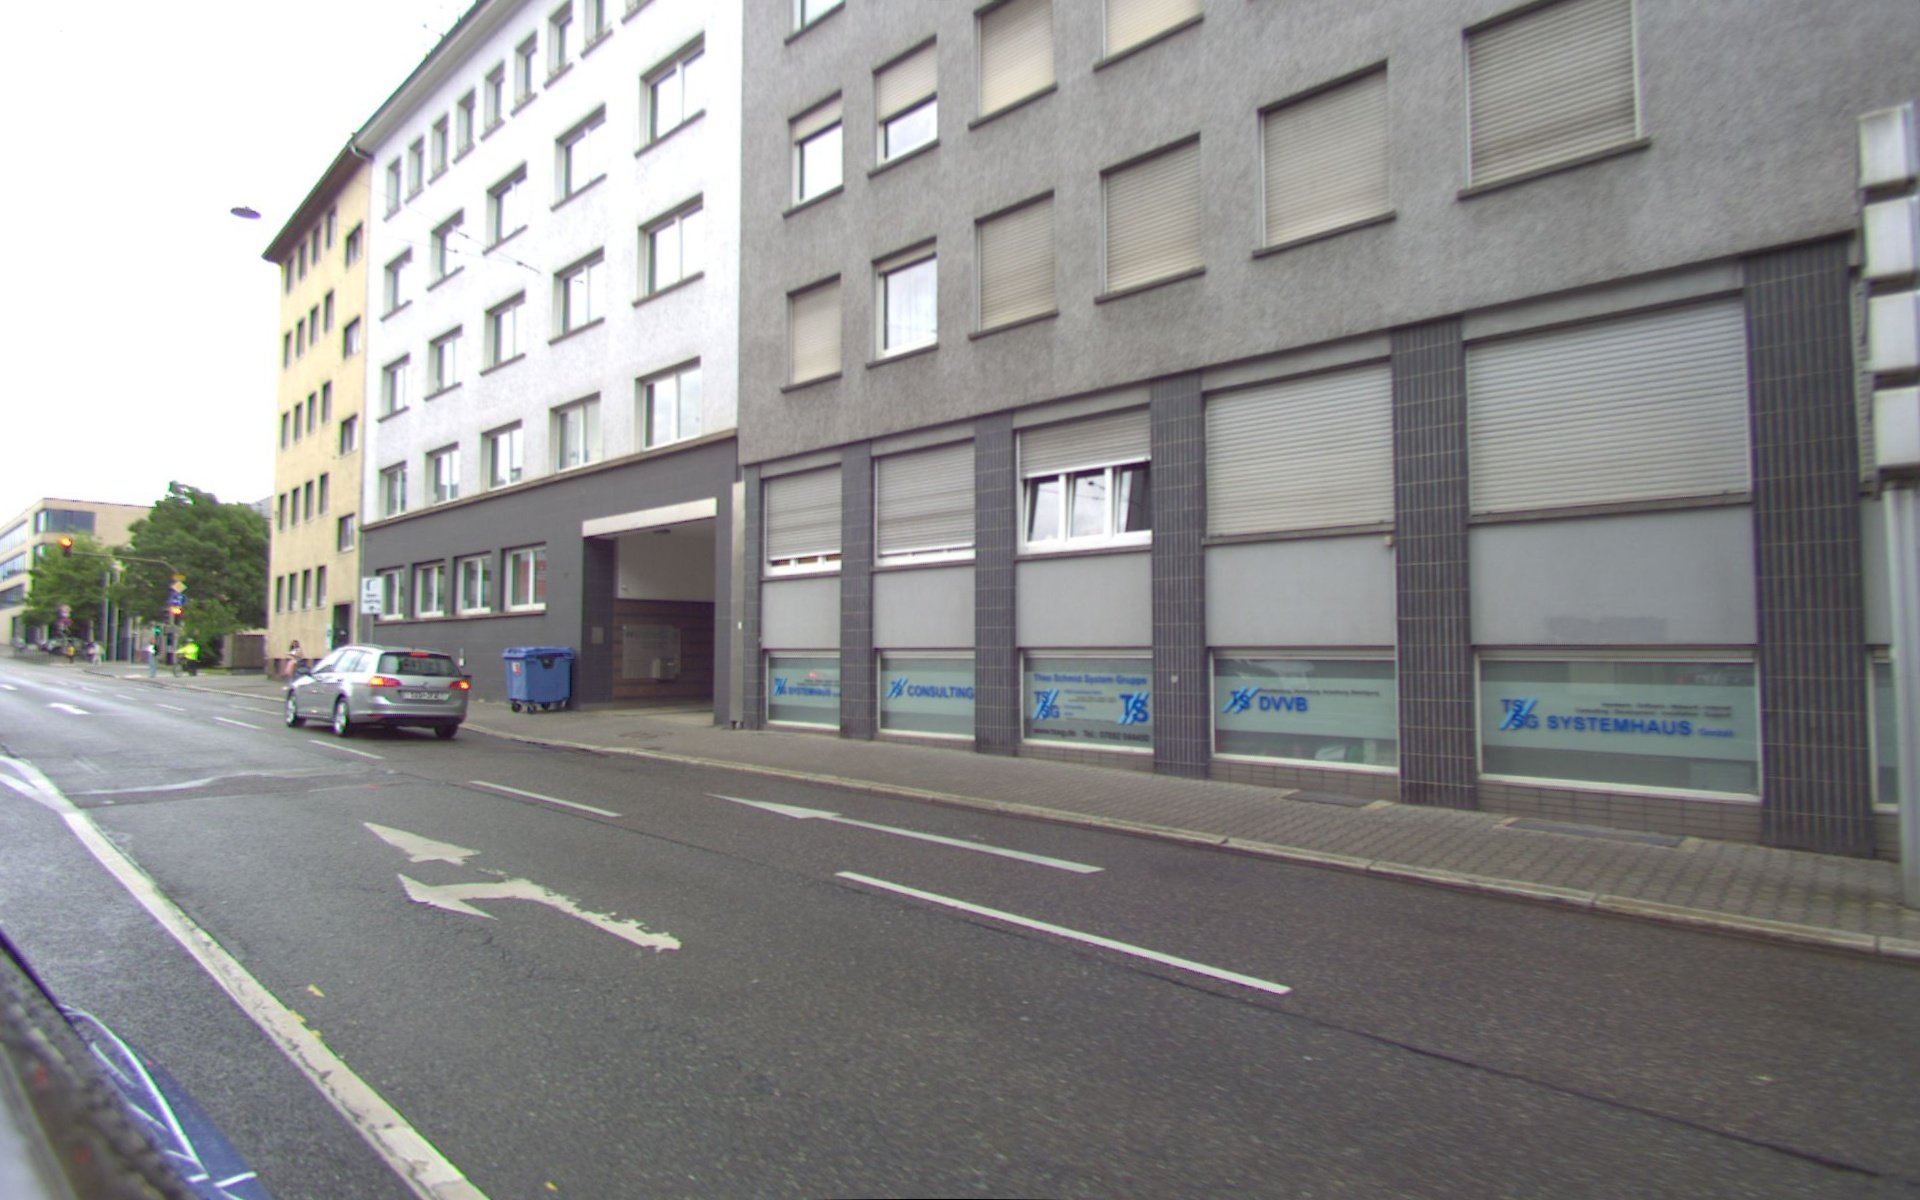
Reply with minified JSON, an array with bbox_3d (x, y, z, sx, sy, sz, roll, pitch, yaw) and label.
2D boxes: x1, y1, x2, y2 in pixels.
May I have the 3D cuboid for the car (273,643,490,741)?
[{"bbox_3d":[-9.759,1.502,16.937,4.294,1.427,1.807,-3,-7,42],"label":"car"}]

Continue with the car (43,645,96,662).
[{"bbox_3d":[-90.159,5.409,102.472,3.940,1.597,2.002,1,-2,-43],"label":"car"}]

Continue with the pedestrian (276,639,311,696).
[{"bbox_3d":[-20.280,2.047,30.795,0.811,1.702,0.709,-3,-3,45],"label":"pedestrian"}]

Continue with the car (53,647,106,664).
[{"bbox_3d":[-88.008,5.512,101.210,3.940,1.597,2.002,1,-2,-43],"label":"car"}]

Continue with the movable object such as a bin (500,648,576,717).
[{"bbox_3d":[-8.692,1.676,20.841,1.190,1.334,1.064,-2,-3,43],"label":"movable object such as a bin"}]

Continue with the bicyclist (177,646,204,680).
[{"bbox_3d":[-33.876,2.779,44.570,0.813,1.453,0.832,-3,-3,45],"label":"bicyclist"}]

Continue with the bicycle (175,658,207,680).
[{"bbox_3d":[-33.888,3.018,44.603,0.875,0.914,1.867,1,-3,-45],"label":"bicycle"}]

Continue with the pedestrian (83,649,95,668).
[{"bbox_3d":[-65.425,4.412,76.043,0.475,1.386,0.614,-2,-3,43],"label":"pedestrian"}]

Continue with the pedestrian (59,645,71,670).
[{"bbox_3d":[-66.471,4.276,75.165,0.692,1.785,0.588,-2,-3,42],"label":"pedestrian"}]

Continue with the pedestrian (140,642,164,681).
[{"bbox_3d":[-35.711,2.718,44.735,0.811,1.702,0.709,-3,-3,45],"label":"pedestrian"}]
